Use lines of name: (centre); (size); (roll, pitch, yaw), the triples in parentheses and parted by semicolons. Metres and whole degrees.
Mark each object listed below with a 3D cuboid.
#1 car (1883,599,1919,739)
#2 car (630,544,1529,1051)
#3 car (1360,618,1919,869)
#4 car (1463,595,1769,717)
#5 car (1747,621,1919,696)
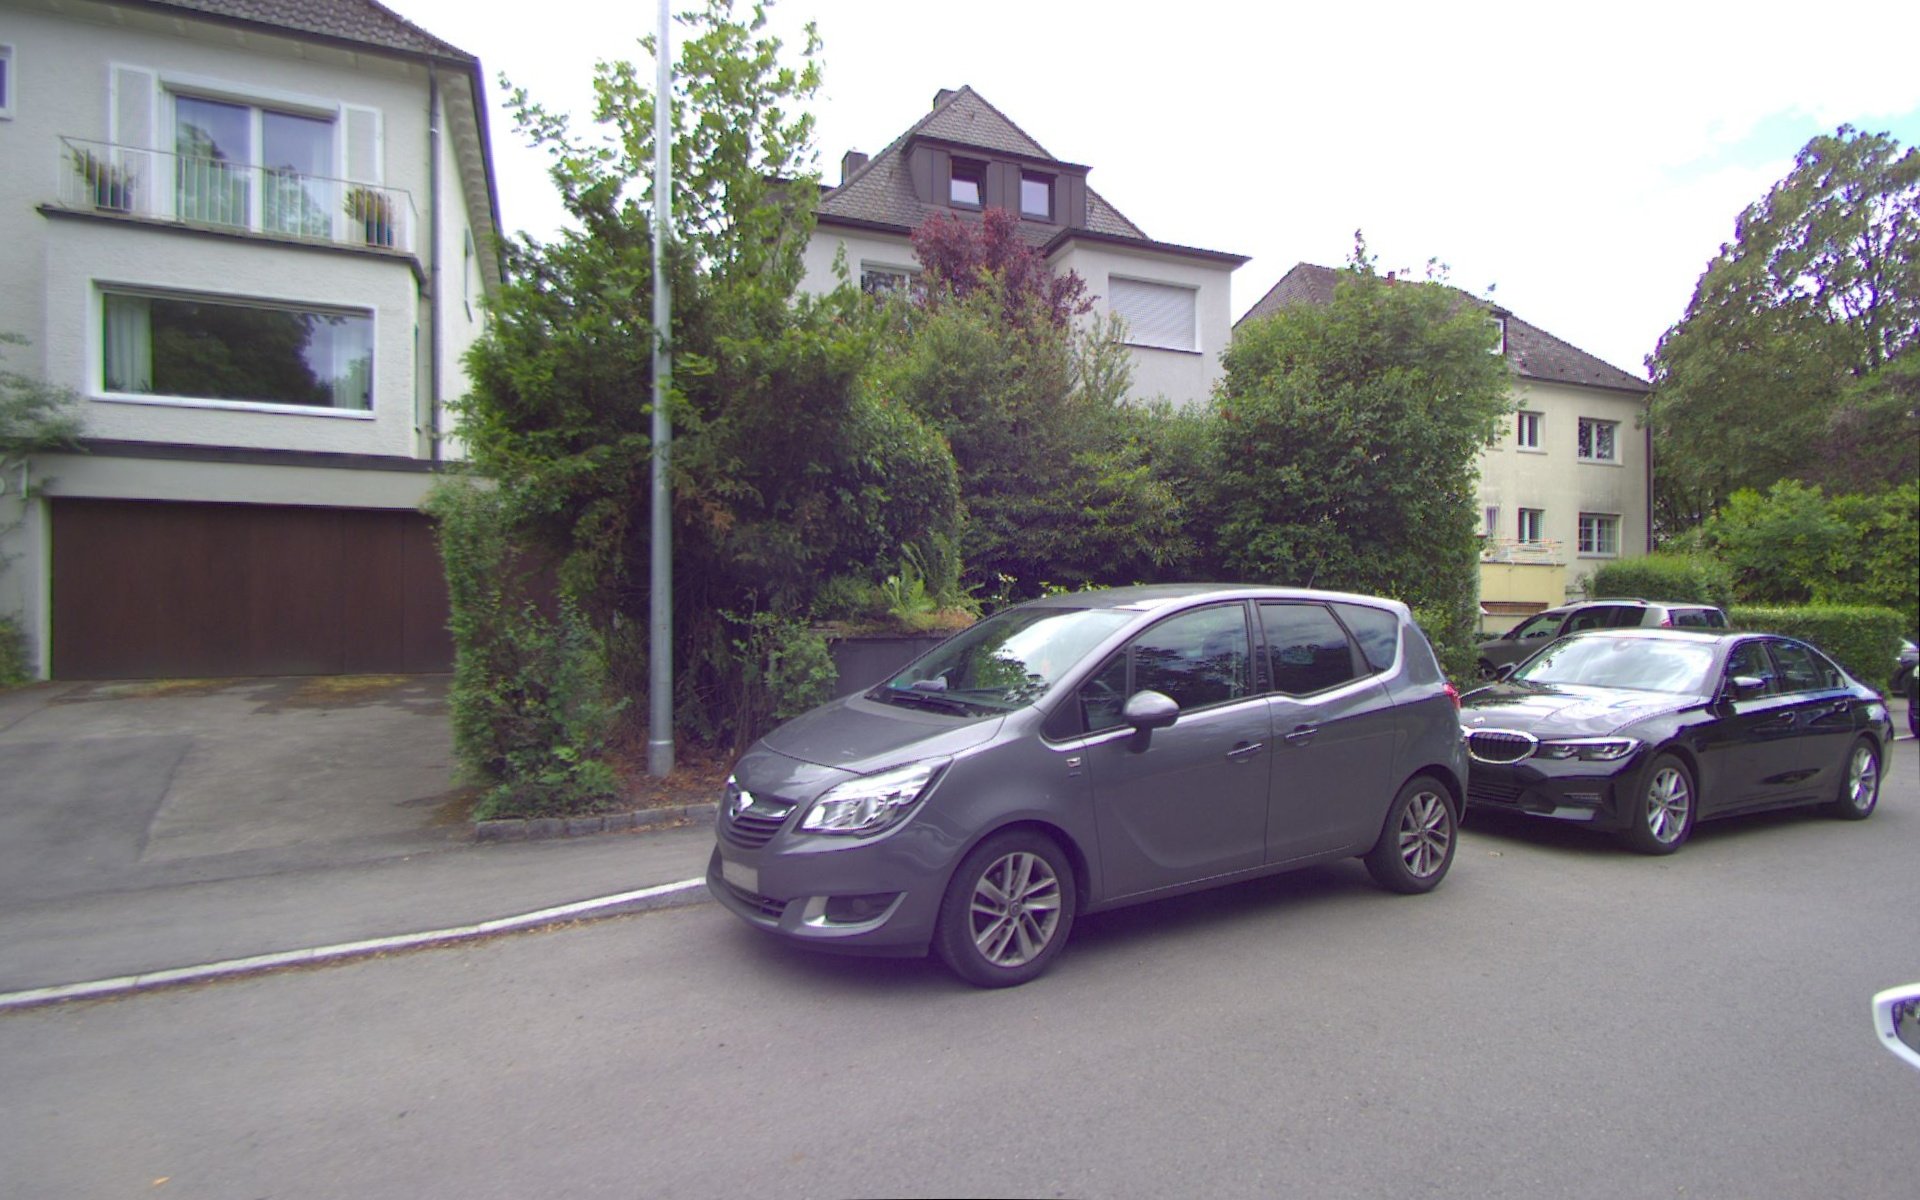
car: (14.602, 0.915, 13.270); (5.124, 1.760, 1.966); (1, 0, -28)
car: (0.811, 0.673, 5.193); (4.516, 1.654, 1.722); (1, 0, -31)
car: (5.508, 0.896, 7.823); (4.837, 1.431, 1.747); (1, 0, -28)
car: (10.000, 0.767, 15.656); (1.799, 1.659, 3.691); (1, 0, -17)
car: (19.152, 1.187, 21.077); (1.755, 1.403, 3.809); (0, 0, -26)
